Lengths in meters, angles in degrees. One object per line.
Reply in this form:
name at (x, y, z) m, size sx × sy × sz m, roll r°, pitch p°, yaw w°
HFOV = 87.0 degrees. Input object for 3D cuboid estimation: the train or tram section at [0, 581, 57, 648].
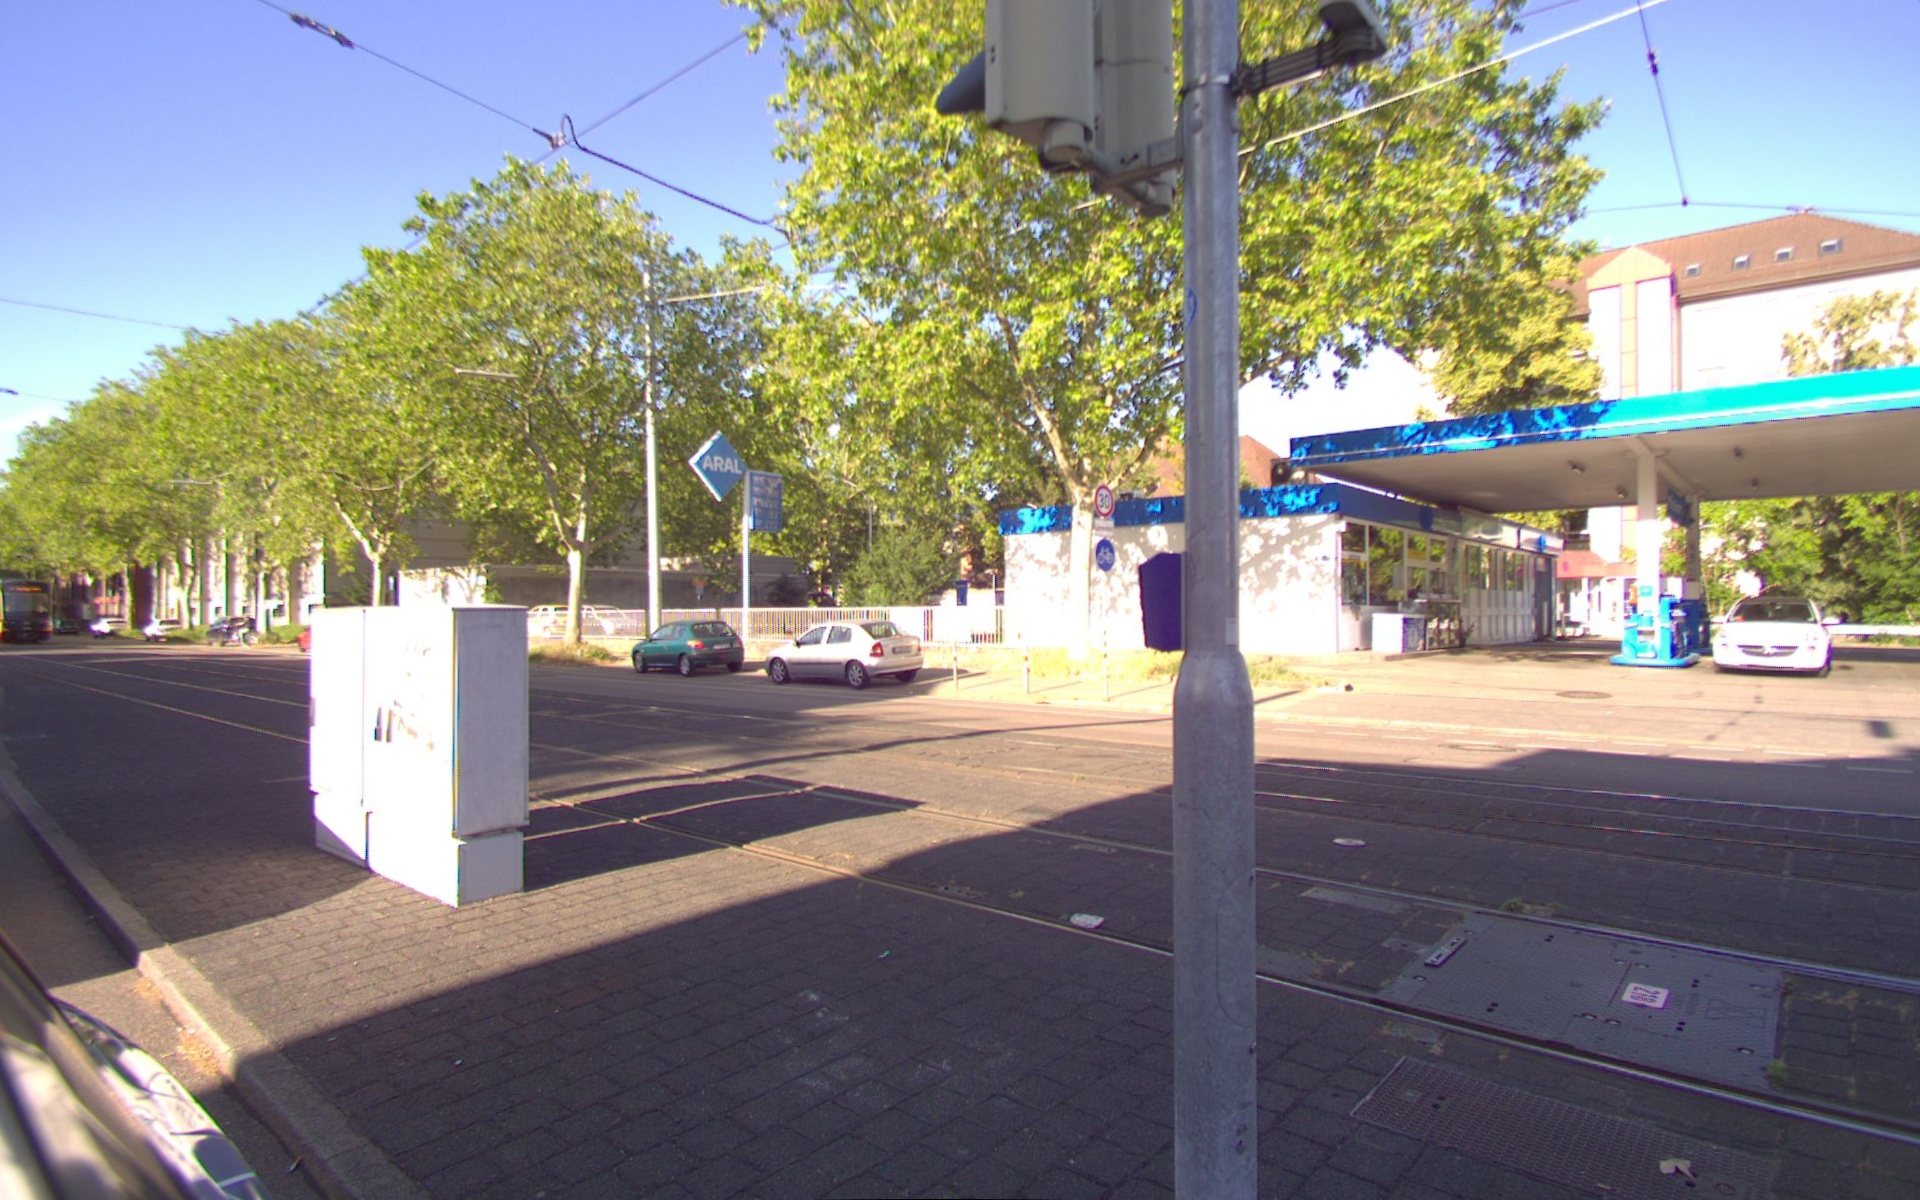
train or tram section at (-53.285, 0.799, 56.583) m, size 10.176 × 3.503 × 2.826 m, roll -1°, pitch 0°, yaw 41°

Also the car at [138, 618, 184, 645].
car at (-53.870, 2.110, 68.183) m, size 4.098 × 1.686 × 1.821 m, roll -1°, pitch 1°, yaw 44°

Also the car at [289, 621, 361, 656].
car at (-28.988, 1.733, 46.165) m, size 4.001 × 1.418 × 1.821 m, roll -1°, pitch 1°, yaw 44°

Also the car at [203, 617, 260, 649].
car at (-40.683, 1.840, 56.463) m, size 4.098 × 1.628 × 1.821 m, roll -1°, pitch 1°, yaw 44°

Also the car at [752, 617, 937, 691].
car at (-2.639, 1.148, 22.638) m, size 3.997 × 1.418 × 1.823 m, roll -1°, pitch 1°, yaw 40°

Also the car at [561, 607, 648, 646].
car at (-15.416, 1.131, 43.762) m, size 3.999 × 1.545 × 1.822 m, roll -1°, pitch 1°, yaw 42°

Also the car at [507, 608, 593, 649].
car at (-17.156, 1.155, 42.269) m, size 4.002 × 1.545 × 1.820 m, roll -1°, pitch 1°, yaw 45°

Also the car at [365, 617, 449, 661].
car at (-21.987, 1.503, 40.174) m, size 4.002 × 1.545 × 1.820 m, roll -1°, pitch 1°, yaw 45°

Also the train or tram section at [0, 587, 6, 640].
train or tram section at (-68.576, 0.963, 70.028) m, size 10.178 × 3.503 × 2.806 m, roll -1°, pitch 0°, yaw 41°

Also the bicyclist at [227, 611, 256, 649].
bicyclist at (-36.178, 1.503, 50.980) m, size 1.063 × 1.878 × 0.716 m, roll -1°, pitch -1°, yaw 21°

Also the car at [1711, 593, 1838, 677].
car at (15.996, 0.641, 19.838) m, size 1.780 × 1.475 × 3.946 m, roll -1°, pitch -1°, yaw 40°

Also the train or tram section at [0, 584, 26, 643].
train or tram section at (-60.949, 0.877, 63.244) m, size 10.179 × 3.503 × 2.806 m, roll -1°, pitch 0°, yaw 42°

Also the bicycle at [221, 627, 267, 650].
bicycle at (-36.109, 1.944, 51.009) m, size 2.516 × 1.129 × 0.649 m, roll -1°, pitch -1°, yaw 23°

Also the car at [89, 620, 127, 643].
car at (-66.977, 2.433, 79.552) m, size 4.098 × 1.686 × 1.821 m, roll -1°, pitch 1°, yaw 44°

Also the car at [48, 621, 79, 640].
car at (-85.078, 2.883, 96.070) m, size 4.098 × 1.686 × 1.821 m, roll -1°, pitch 1°, yaw 44°

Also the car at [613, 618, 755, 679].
car at (-7.447, 1.244, 27.127) m, size 4.138 × 1.418 × 1.820 m, roll -1°, pitch 1°, yaw 45°
